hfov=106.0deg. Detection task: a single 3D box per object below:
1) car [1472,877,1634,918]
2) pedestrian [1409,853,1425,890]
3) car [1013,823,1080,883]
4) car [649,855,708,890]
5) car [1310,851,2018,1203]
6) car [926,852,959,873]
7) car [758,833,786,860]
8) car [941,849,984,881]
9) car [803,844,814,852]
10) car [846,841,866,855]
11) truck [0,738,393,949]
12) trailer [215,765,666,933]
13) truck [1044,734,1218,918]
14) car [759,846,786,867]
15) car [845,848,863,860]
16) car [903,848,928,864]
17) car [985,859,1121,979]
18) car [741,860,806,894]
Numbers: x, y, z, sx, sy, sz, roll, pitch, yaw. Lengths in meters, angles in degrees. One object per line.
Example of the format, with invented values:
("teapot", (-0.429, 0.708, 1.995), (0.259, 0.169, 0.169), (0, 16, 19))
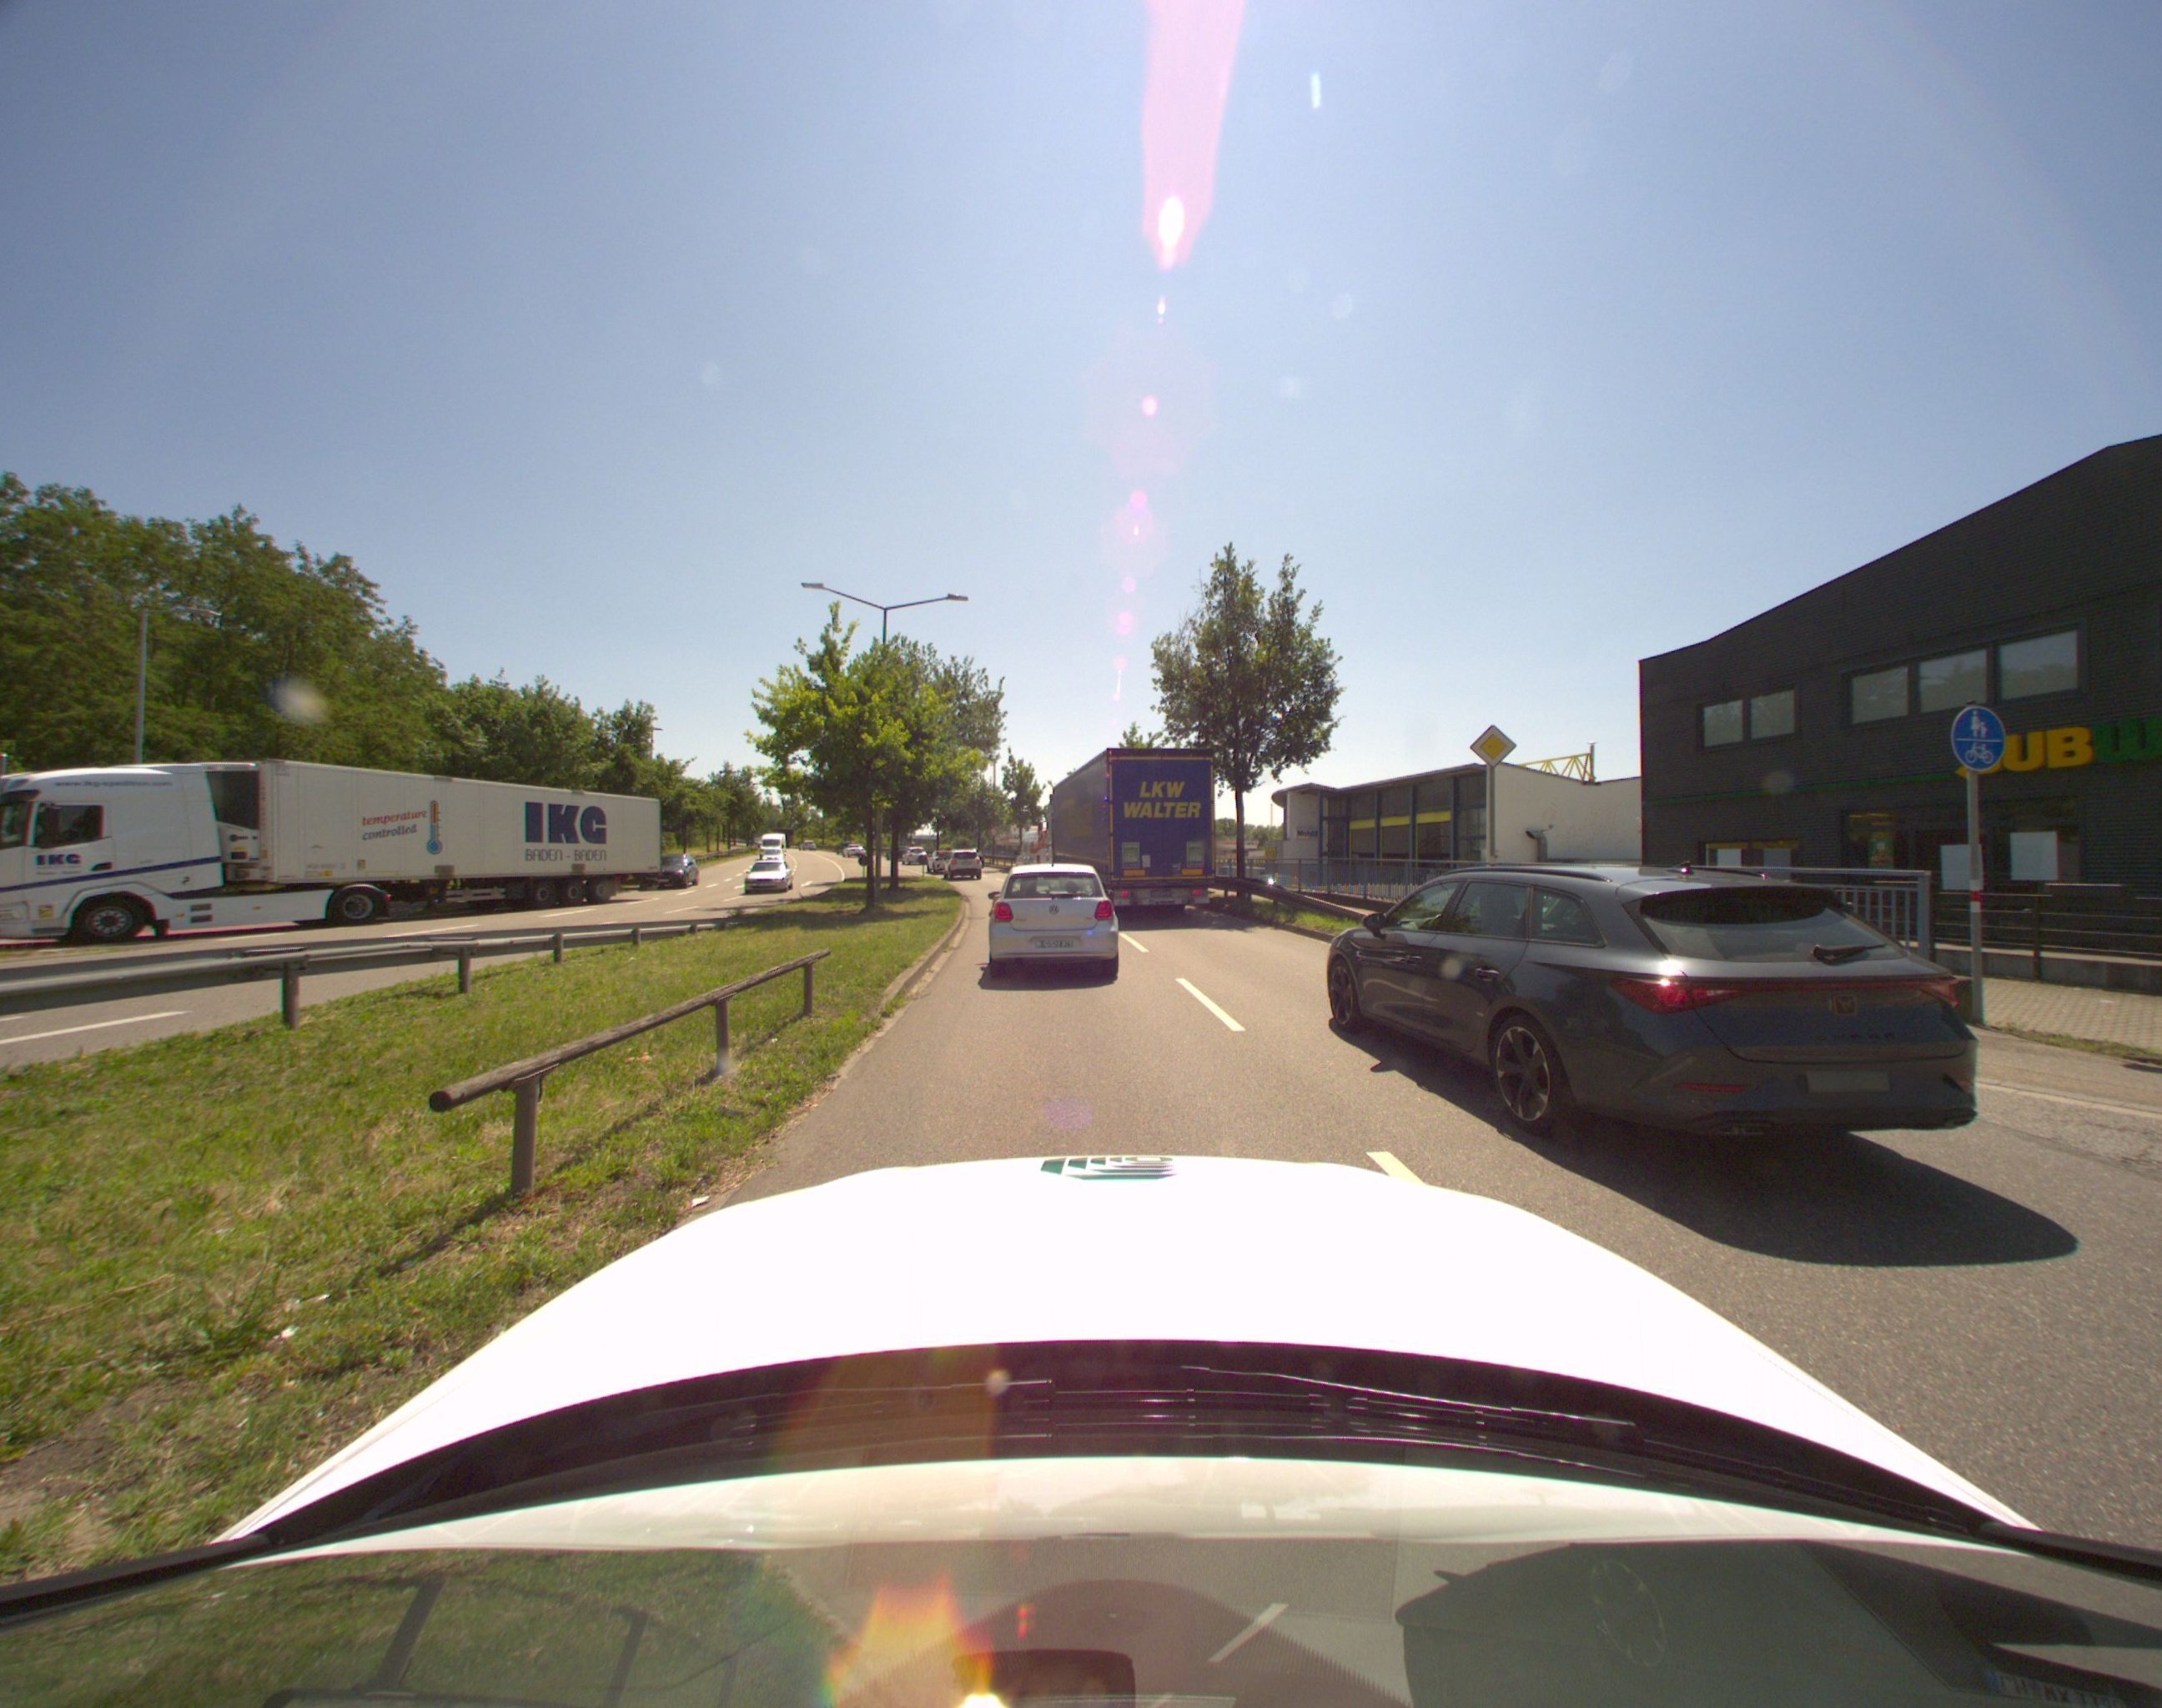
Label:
("car", (17.291, 1.553, 30.084), (5.018, 1.358, 2.012), (-1, -1, 28))
("pedestrian", (15.536, 0.815, 37.671), (0.521, 1.703, 0.486), (0, -1, -10))
("car", (-1.916, -0.085, 42.738), (2.179, 2.900, 6.326), (0, 1, -15))
("car", (-20.081, 0.903, 40.798), (1.489, 1.633, 4.456), (0, -1, -11))
("car", (3.092, 0.740, 5.563), (1.602, 1.456, 4.228), (0, -1, -4))
("car", (-9.156, 0.521, 53.659), (1.499, 1.360, 3.638), (0, 0, -20))
("car", (-30.490, -0.776, 80.467), (2.099, 2.500, 5.778), (-1, 1, -16))
("car", (-6.817, 0.621, 46.554), (1.907, 1.718, 4.200), (0, -1, -16))
("car", (-39.359, -0.838, 117.559), (1.327, 1.139, 2.971), (0, -1, -24))
("car", (-24.681, -0.665, 89.414), (1.672, 1.465, 3.553), (0, -1, -23))
("truck", (-20.391, -0.170, 18.831), (2.520, 4.022, 6.306), (-1, -1, 26))
("trailer", (-18.859, -0.214, 26.128), (2.994, 4.049, 12.735), (0, 1, 8))
("truck", (0.808, -0.644, 26.955), (2.830, 4.198, 16.433), (0, 0, -7))
("car", (-24.157, 0.241, 63.912), (1.638, 1.567, 4.050), (-1, -1, -16))
("car", (-24.933, 0.001, 89.274), (1.463, 1.314, 3.609), (0, -1, -23))
("car", (-14.000, 0.159, 68.756), (1.613, 1.360, 3.638), (0, 0, -20))
("car", (-0.351, 0.807, 11.637), (1.641, 1.439, 3.535), (0, -1, -1))
("car", (-13.459, 0.978, 35.878), (1.632, 1.403, 4.211), (-1, -1, -7))
